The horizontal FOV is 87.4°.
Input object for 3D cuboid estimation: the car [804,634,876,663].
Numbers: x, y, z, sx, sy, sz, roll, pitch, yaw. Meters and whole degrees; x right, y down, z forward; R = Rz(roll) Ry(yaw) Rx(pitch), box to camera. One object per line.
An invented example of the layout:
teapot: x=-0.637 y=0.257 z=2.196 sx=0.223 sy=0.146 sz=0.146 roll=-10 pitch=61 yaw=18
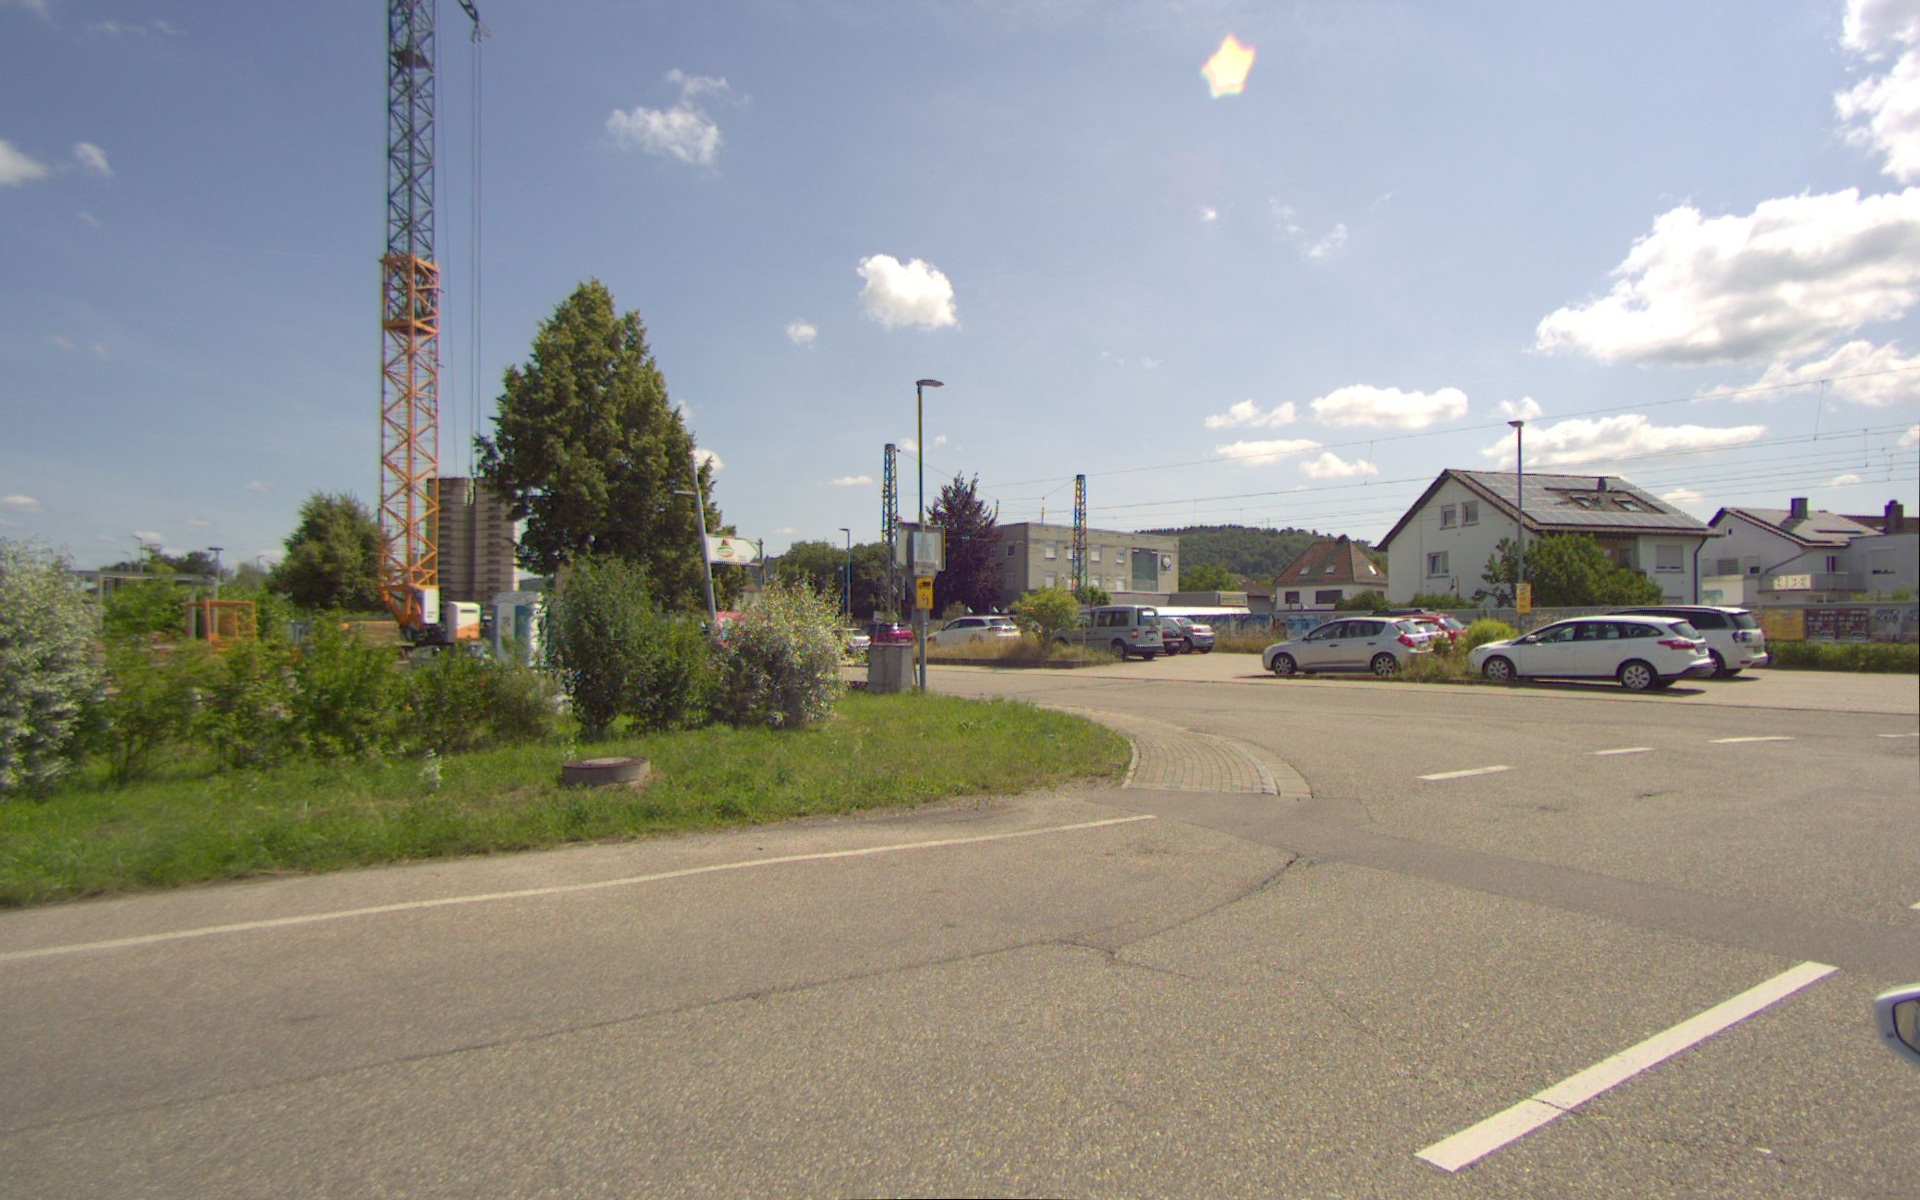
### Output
car: x=-5.780 y=2.291 z=48.036 sx=1.522 sy=1.331 sz=3.954 roll=1 pitch=-2 yaw=-40

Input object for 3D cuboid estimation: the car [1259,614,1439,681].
car: x=9.930 y=1.156 z=25.817 sx=3.958 sy=1.582 sz=1.812 roll=-1 pitch=-2 yaw=43

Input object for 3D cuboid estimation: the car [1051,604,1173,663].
car: x=5.233 y=1.091 z=34.998 sx=1.890 sy=1.840 sz=3.952 roll=0 pitch=1 yaw=-41

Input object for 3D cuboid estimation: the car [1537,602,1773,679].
car: x=16.953 y=0.916 z=24.696 sx=1.982 sy=1.713 sz=4.419 roll=-1 pitch=0 yaw=-37

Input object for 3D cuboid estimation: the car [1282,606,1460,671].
car: x=11.329 y=1.106 z=27.848 sx=4.118 sy=1.660 sz=1.943 roll=-4 pitch=-4 yaw=44

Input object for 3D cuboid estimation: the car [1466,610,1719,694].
car: x=13.458 y=1.040 z=21.570 sx=1.813 sy=1.496 sz=4.245 roll=2 pitch=0 yaw=-41

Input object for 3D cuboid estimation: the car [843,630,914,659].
car: x=-4.017 y=2.150 z=49.100 sx=1.522 sy=1.331 sz=3.954 roll=1 pitch=-2 yaw=-40

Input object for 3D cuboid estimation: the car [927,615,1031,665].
car: x=0.719 y=1.581 z=40.589 sx=1.987 sy=1.916 sz=3.947 roll=1 pitch=-2 yaw=-45

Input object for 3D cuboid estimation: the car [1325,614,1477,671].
car: x=12.900 y=1.221 z=29.549 sx=1.682 sy=1.579 sz=3.748 roll=1 pitch=-2 yaw=-42

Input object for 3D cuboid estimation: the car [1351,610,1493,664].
car: x=14.448 y=1.140 z=31.530 sx=1.487 sy=1.610 sz=3.793 roll=1 pitch=-2 yaw=-44

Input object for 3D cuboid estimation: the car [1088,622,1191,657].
car: x=6.653 y=1.443 z=37.492 sx=1.659 sy=1.238 sz=3.631 roll=1 pitch=-2 yaw=-38

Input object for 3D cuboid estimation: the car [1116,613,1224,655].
car: x=8.127 y=1.302 z=39.102 sx=1.669 sy=1.439 sz=3.956 roll=2 pitch=0 yaw=-38
